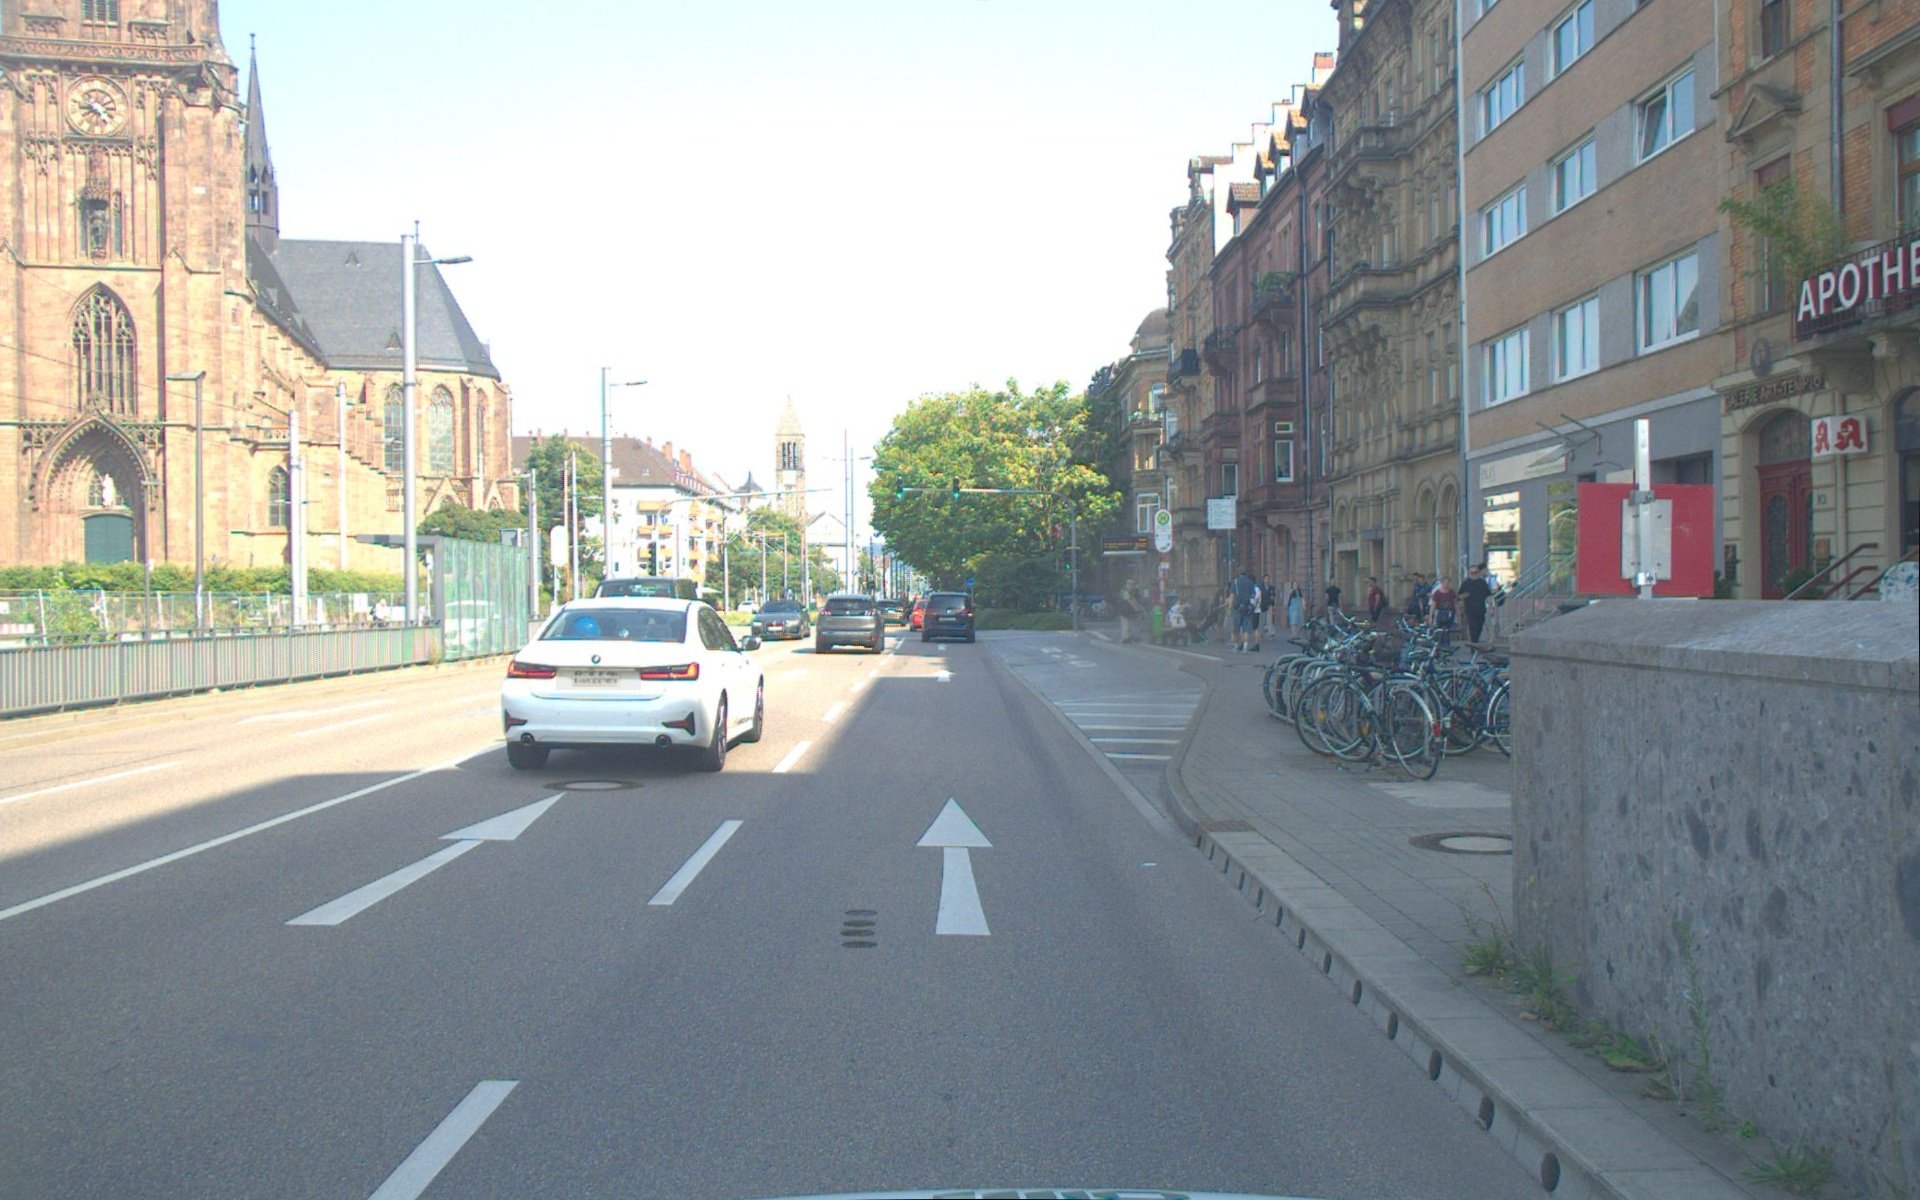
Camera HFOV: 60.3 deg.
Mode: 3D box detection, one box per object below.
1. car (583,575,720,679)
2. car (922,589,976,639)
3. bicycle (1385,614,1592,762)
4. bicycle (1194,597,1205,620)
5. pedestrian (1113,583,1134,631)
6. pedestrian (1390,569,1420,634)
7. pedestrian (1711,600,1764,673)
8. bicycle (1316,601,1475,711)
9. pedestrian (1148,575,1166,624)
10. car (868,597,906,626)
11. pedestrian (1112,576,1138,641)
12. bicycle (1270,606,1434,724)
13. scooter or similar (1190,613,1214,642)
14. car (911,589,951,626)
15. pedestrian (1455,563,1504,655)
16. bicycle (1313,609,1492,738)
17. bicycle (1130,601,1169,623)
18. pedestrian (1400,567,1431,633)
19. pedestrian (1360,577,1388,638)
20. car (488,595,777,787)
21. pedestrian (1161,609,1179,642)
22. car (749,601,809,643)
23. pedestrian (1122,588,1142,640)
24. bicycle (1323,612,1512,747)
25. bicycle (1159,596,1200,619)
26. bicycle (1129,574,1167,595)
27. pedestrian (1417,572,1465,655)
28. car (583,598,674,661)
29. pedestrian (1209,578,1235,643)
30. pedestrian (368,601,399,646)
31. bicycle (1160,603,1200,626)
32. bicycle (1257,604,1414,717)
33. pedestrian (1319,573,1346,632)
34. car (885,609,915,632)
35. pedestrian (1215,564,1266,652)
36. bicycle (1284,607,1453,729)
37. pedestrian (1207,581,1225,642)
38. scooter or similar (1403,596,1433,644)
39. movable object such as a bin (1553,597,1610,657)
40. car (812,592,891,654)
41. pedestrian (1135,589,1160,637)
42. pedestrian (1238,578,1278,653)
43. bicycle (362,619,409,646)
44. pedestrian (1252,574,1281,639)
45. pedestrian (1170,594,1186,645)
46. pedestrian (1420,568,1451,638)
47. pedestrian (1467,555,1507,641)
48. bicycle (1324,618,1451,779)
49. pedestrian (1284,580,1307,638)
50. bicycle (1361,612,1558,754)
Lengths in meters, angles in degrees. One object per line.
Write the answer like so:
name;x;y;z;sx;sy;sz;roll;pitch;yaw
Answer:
car;-6.306;0.517;34.321;1.953;1.937;4.715;-2;0;-1
car;-0.382;0.446;57.552;1.794;1.649;4.356;0;0;0
bicycle;4.379;0.721;13.733;1.601;1.168;0.385;-1;0;-6
bicycle;11.325;0.389;78.134;0.408;1.066;1.671;-1;0;4
pedestrian;5.886;0.242;59.631;0.676;1.693;0.619;-1;0;0
pedestrian;11.914;0.026;44.320;0.591;1.721;0.586;-1;0;-4
pedestrian;10.923;0.504;23.251;0.598;0.999;0.636;-1;0;19
bicycle;4.850;0.617;18.478;1.599;1.168;0.602;-1;0;1
pedestrian;7.043;-0.010;59.137;0.471;1.731;0.702;-1;0;-4
car;-3.821;0.596;87.233;1.826;1.449;4.356;0;0;0
pedestrian;4.517;0.239;45.253;0.553;1.759;0.745;-1;0;-4
bicycle;4.072;0.664;17.212;1.601;1.168;0.385;-1;0;-6
scooter or similar;6.584;0.740;45.023;0.553;0.754;0.514;-1;0;-4
car;-1.312;0.326;75.937;1.794;1.649;4.356;0;0;0
pedestrian;10.448;0.178;33.282;0.705;1.818;0.856;-1;0;0
bicycle;4.208;0.690;15.748;1.601;1.168;0.385;-1;0;-6
bicycle;9.749;0.615;85.090;1.891;1.066;0.526;-1;0;-7
pedestrian;12.010;0.000;43.612;0.591;1.721;0.586;-1;0;-4
pedestrian;11.602;0.217;46.358;0.591;1.683;0.586;-1;0;-4
car;-2.833;0.706;15.373;1.772;1.452;4.773;1;0;-1
pedestrian;5.480;0.664;43.207;0.297;0.834;0.603;-1;0;-8
car;-6.456;0.761;59.400;1.678;1.354;4.520;-2;0;-1
pedestrian;5.467;0.451;52.584;0.517;1.640;0.702;-1;0;-4
bicycle;4.143;0.709;15.000;1.601;1.168;0.385;-1;0;-6
bicycle;10.565;0.365;79.583;1.891;1.066;0.499;-1;0;-7
bicycle;9.819;-0.821;86.288;1.891;1.066;0.526;-1;0;-7
pedestrian;9.692;0.275;33.331;0.705;1.638;0.856;-1;0;0
car;-9.322;0.789;46.852;1.678;1.640;4.504;-2;0;-1
pedestrian;7.155;0.276;45.121;0.553;1.759;0.617;-1;0;-4
pedestrian;-22.284;0.919;63.941;0.897;1.709;0.603;-1;0;16
bicycle;10.697;0.714;80.459;1.891;1.066;0.499;-1;0;-7
bicycle;4.059;0.650;17.912;1.601;1.168;0.385;-1;0;-6
pedestrian;11.304;0.080;50.164;0.616;1.749;0.690;-1;0;-1
car;-3.892;1.334;108.439;1.826;1.449;4.356;0;0;0
pedestrian;6.077;0.169;35.891;0.907;1.863;0.800;-1;0;-4
bicycle;4.102;0.673;16.629;1.601;1.168;0.385;-1;0;-6
pedestrian;7.474;0.327;48.241;0.334;1.763;0.805;-1;0;-4
scooter or similar;11.464;0.493;41.416;0.353;1.183;1.151;-1;0;-3
movable object such as a bin;11.548;0.493;30.745;0.725;1.099;0.666;-1;0;-18
car;-2.996;0.600;46.504;1.953;1.649;4.356;0;0;0
pedestrian;5.122;0.356;45.244;0.554;1.300;0.596;-1;0;-5
pedestrian;7.032;0.358;39.093;0.735;1.759;0.800;-1;0;-4
bicycle;-22.192;1.263;63.913;1.721;0.995;0.480;-1;0;16
pedestrian;8.771;0.194;47.338;0.604;1.835;1.071;-1;0;0
pedestrian;5.549;0.486;42.119;0.270;1.296;0.447;-1;0;-7
pedestrian;12.234;0.071;42.552;0.591;1.761;0.510;-1;0;-4
pedestrian;11.629;-0.047;36.512;0.591;1.863;0.742;-1;0;-4
bicycle;3.375;0.742;13.165;0.399;1.168;1.654;-1;0;-6
pedestrian;9.634;0.251;47.484;0.476;1.638;0.813;-1;0;0
bicycle;4.330;0.709;14.358;1.601;1.168;0.385;-1;0;-6
